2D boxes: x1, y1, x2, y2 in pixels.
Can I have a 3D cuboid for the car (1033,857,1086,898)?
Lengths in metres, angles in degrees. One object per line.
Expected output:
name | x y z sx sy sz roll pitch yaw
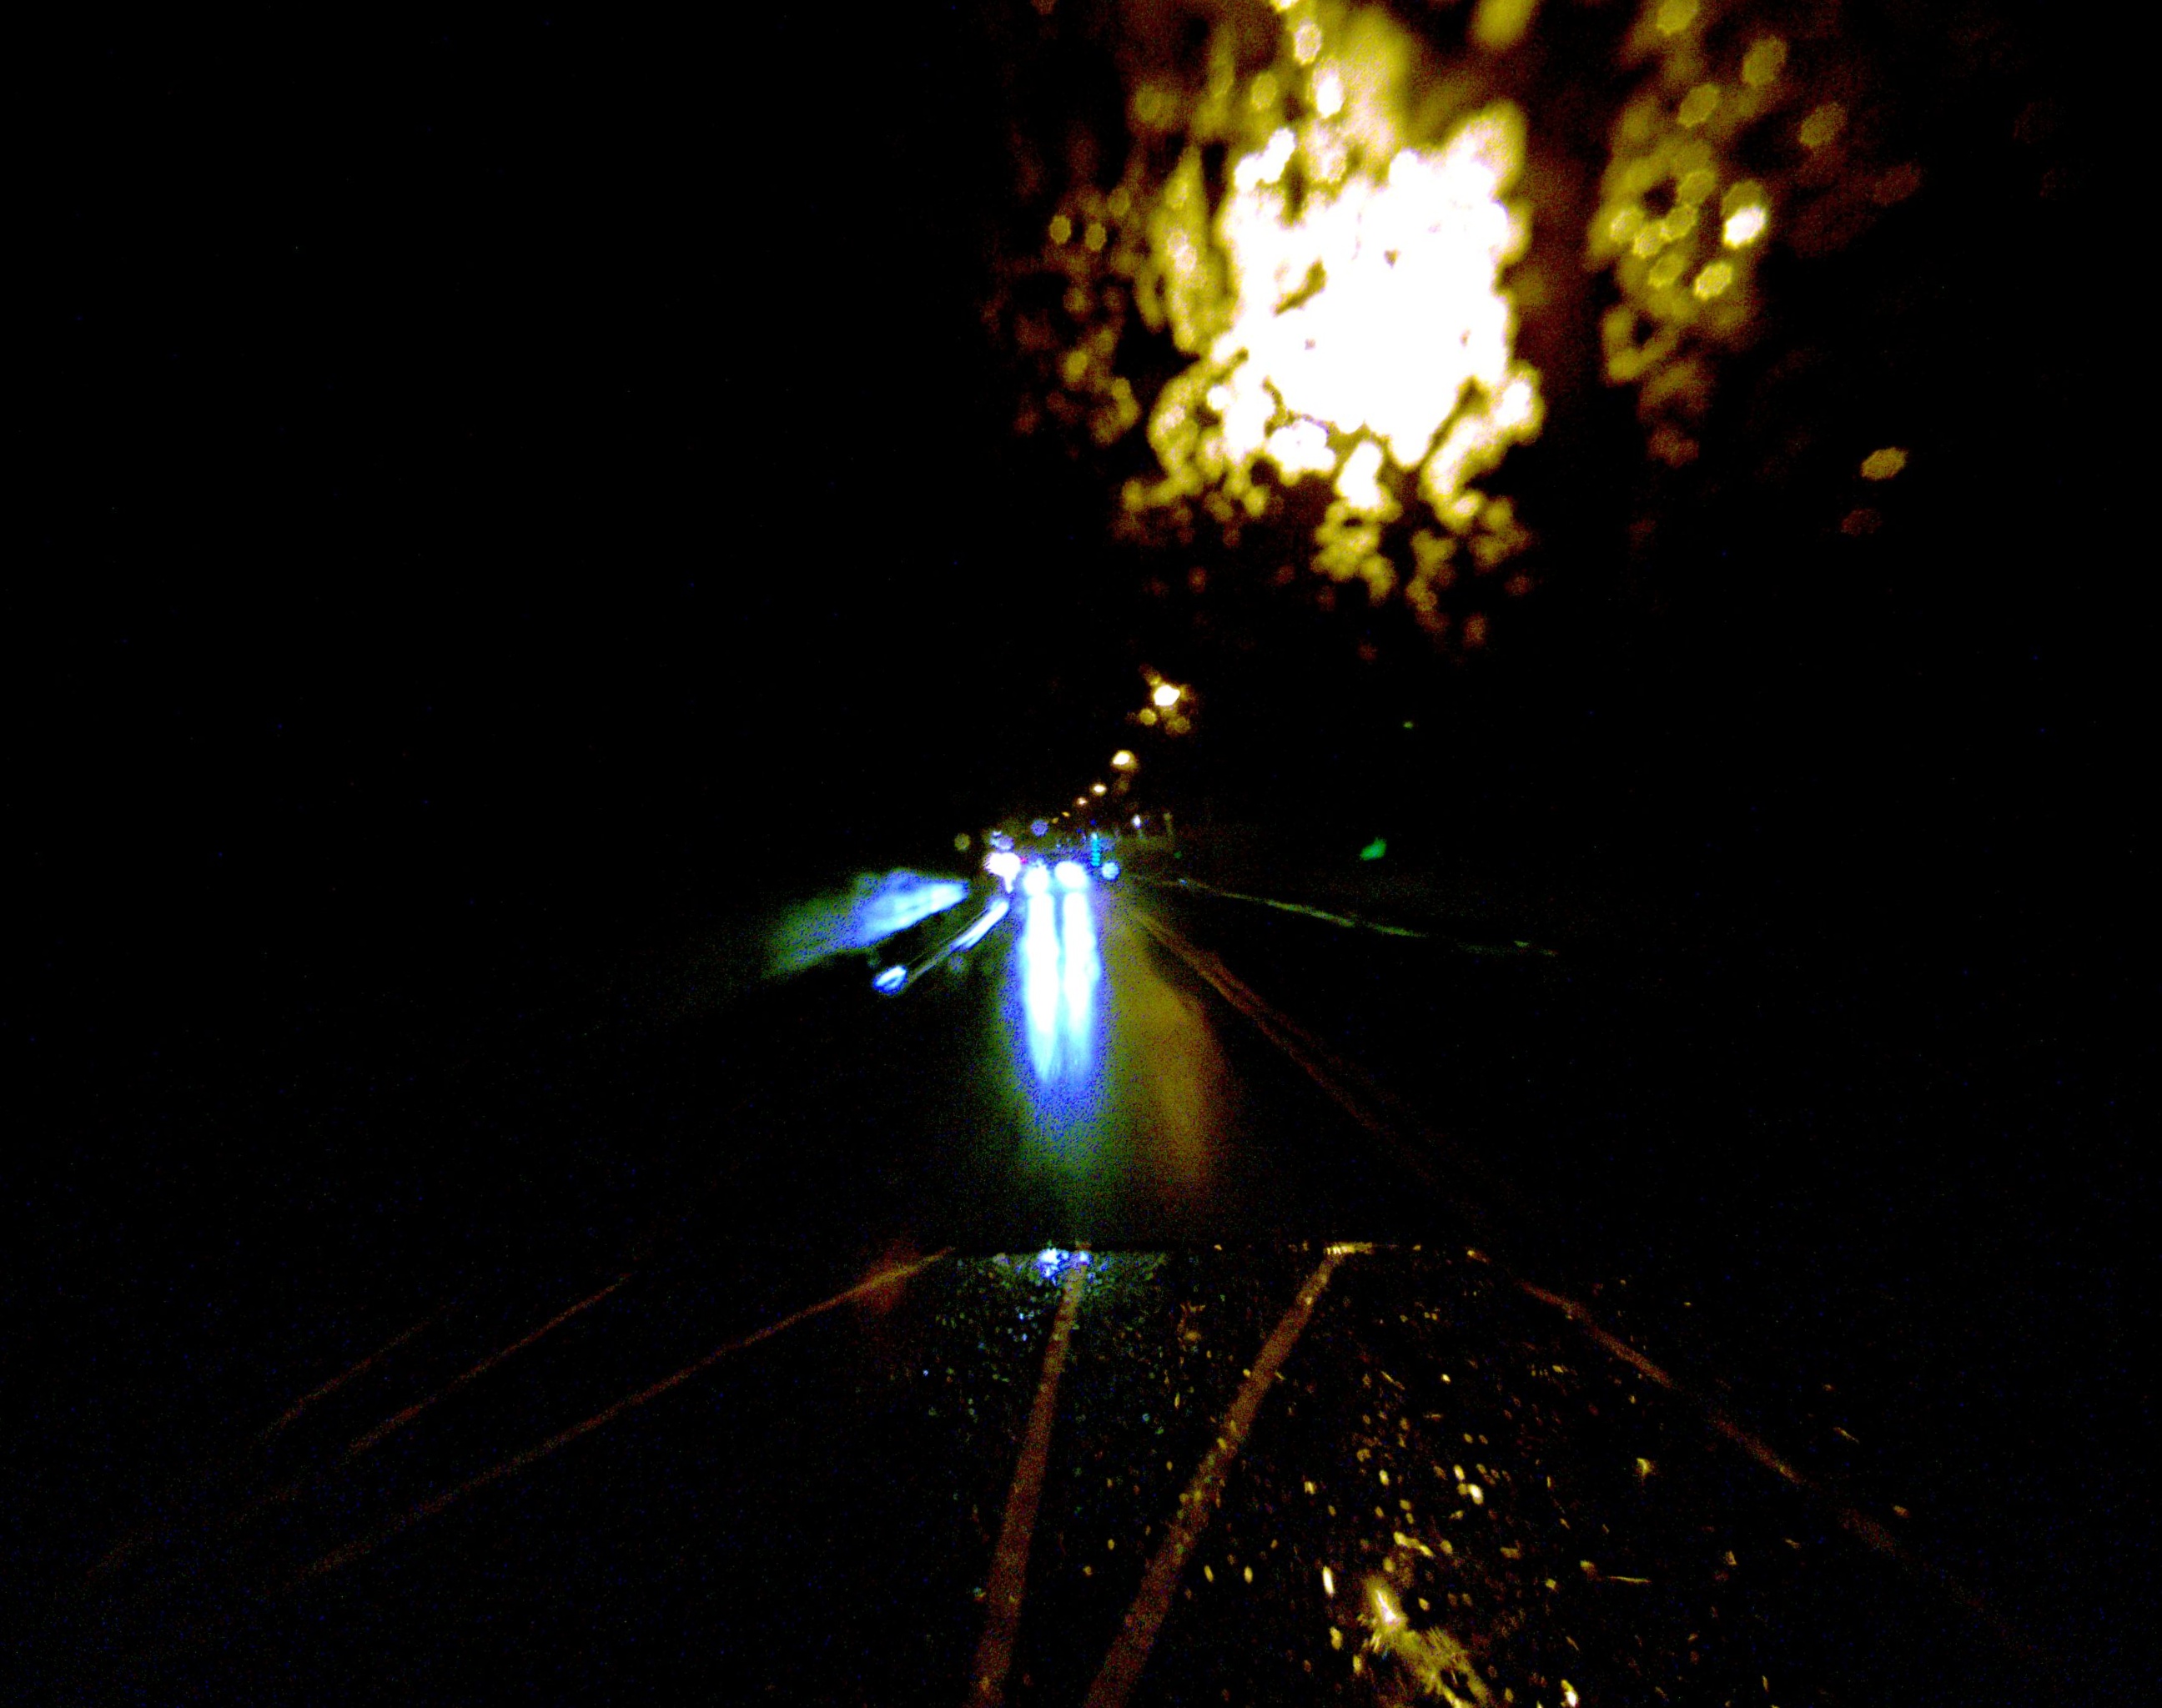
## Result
car | -1.002 0.963 33.033 1.999 1.547 3.997 -2 1 -6

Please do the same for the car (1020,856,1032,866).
car | -8.535 1.097 117.350 1.840 1.375 4.644 -2 0 -5

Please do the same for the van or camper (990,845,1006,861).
van or camper | -15.807 -0.182 144.362 2.422 2.866 6.672 -2 1 -10
